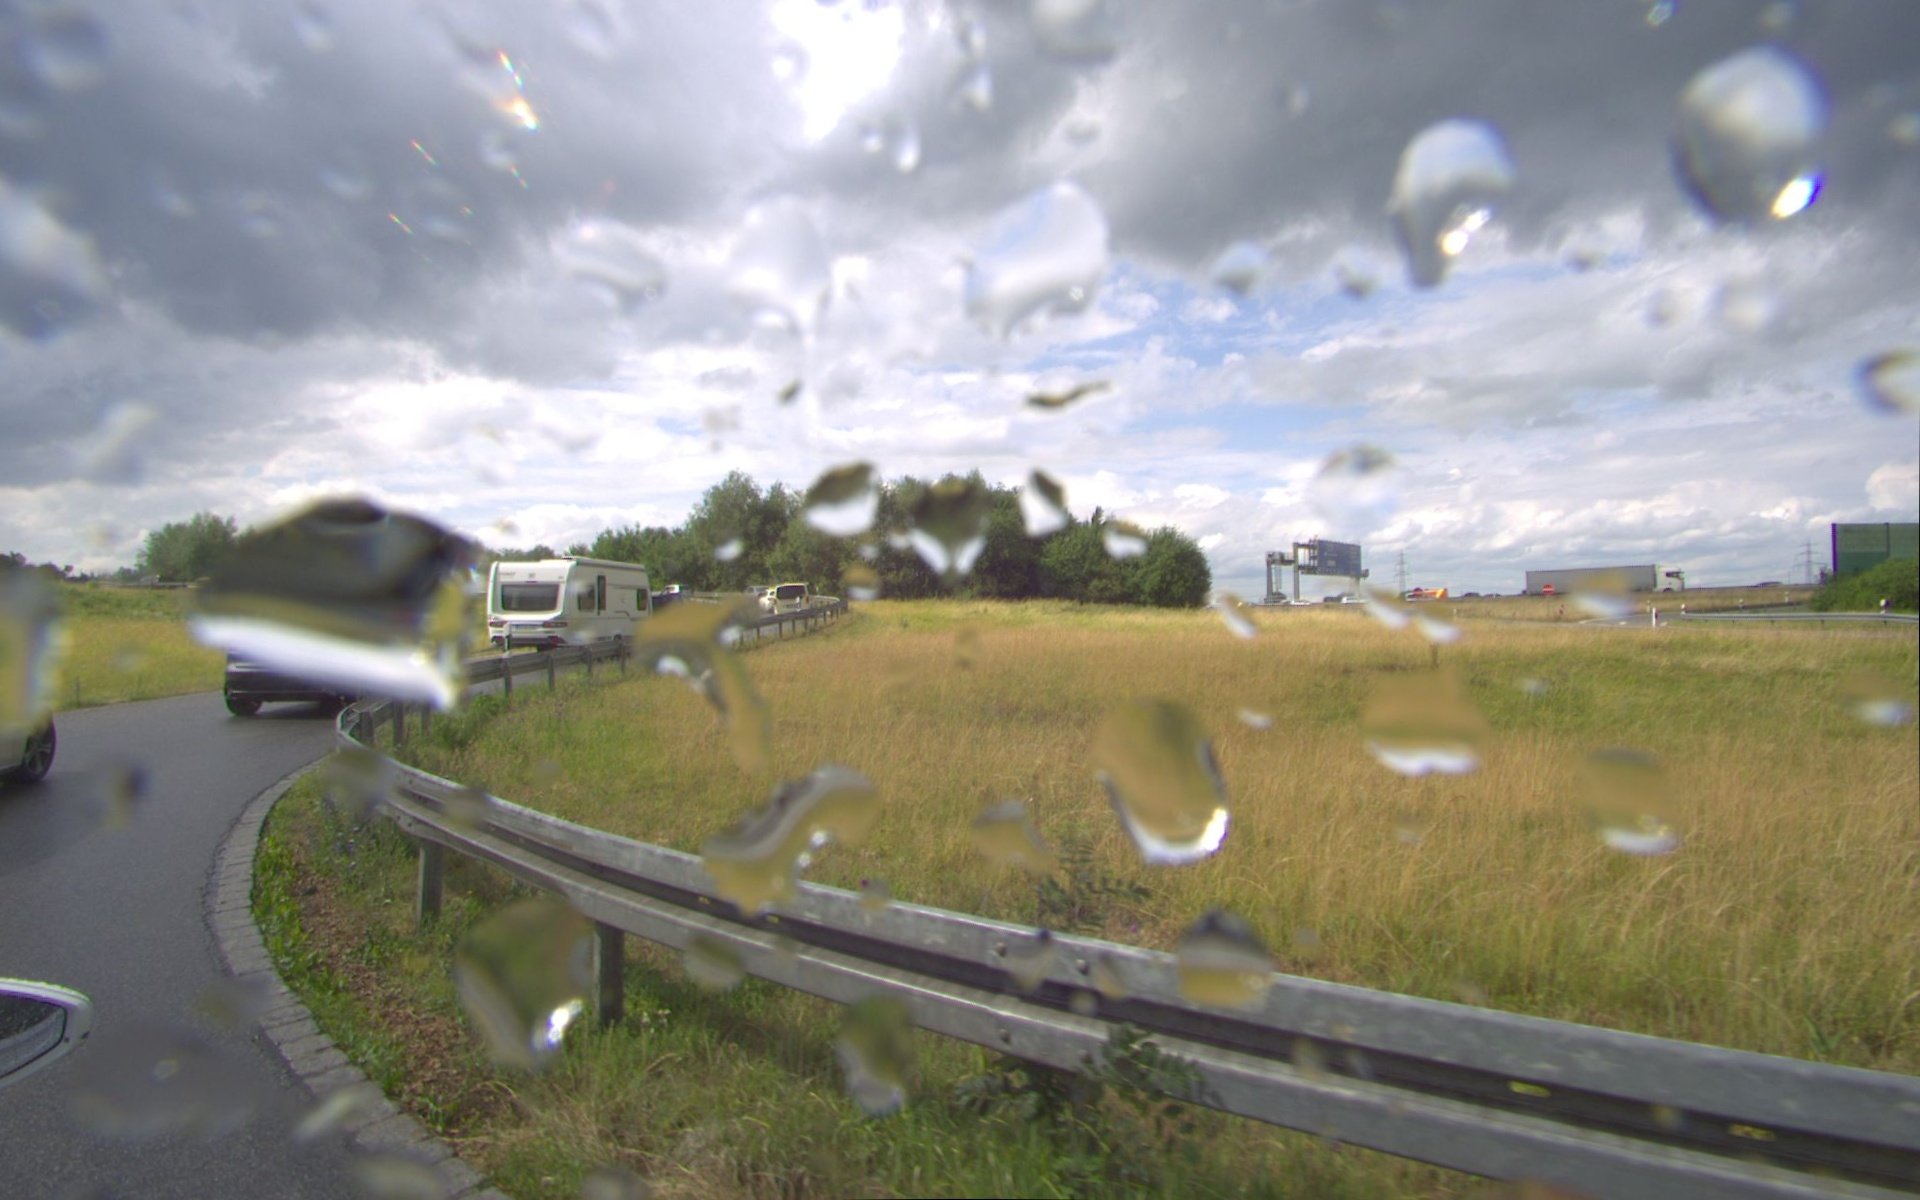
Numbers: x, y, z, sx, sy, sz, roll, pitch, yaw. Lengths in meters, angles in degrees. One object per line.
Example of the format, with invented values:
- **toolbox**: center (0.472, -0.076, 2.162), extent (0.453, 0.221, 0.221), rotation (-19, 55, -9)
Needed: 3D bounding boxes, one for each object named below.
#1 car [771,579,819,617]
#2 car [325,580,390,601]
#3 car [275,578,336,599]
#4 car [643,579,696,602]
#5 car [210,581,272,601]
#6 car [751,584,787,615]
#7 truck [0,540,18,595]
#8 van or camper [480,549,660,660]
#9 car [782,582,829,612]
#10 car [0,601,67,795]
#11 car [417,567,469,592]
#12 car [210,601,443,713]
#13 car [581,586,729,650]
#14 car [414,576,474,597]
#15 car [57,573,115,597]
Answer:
- **car**: center (-8.689, -0.062, 53.037), extent (1.961, 1.885, 5.057), rotation (-1, -1, -3)
- **car**: center (-57.679, -0.941, 95.927), extent (4.959, 1.886, 2.000), rotation (-1, 0, -1)
- **car**: center (-63.439, -1.087, 97.121), extent (4.425, 1.886, 1.999), rotation (-1, 0, -8)
- **car**: center (-24.345, -0.788, 83.802), extent (4.993, 1.808, 1.654), rotation (-2, 0, 37)
- **car**: center (-71.547, -0.863, 99.705), extent (4.960, 1.886, 1.999), rotation (-1, 0, 8)
- **car**: center (-12.184, 0.010, 63.756), extent (1.963, 1.885, 5.052), rotation (-1, -1, -14)
- **truck**: center (-87.501, -3.306, 87.412), extent (4.417, 4.559, 19.263), rotation (1, -3, -34)
- **van or camper**: center (-10.697, 0.136, 28.127), extent (2.391, 2.765, 6.001), rotation (1, 0, 4)
- **car**: center (-10.451, -0.173, 67.440), extent (1.967, 1.886, 5.042), rotation (-1, -1, -23)
- **car**: center (-8.132, 0.765, 6.967), extent (1.894, 1.527, 4.573), rotation (0, 0, -29)
- **car**: center (-49.169, -1.942, 95.276), extent (3.922, 2.039, 2.001), rotation (-3, -2, 1)
- **car**: center (-9.826, 0.815, 15.911), extent (1.691, 1.545, 3.998), rotation (0, -1, -9)
- **car**: center (-10.057, 0.601, 33.658), extent (2.390, 1.950, 5.758), rotation (1, -1, 10)
- **car**: center (-49.435, -1.292, 95.987), extent (4.962, 1.886, 1.999), rotation (-1, 0, 11)
- **car**: center (-80.164, -1.364, 91.911), extent (3.956, 2.039, 1.813), rotation (1, -3, -40)
